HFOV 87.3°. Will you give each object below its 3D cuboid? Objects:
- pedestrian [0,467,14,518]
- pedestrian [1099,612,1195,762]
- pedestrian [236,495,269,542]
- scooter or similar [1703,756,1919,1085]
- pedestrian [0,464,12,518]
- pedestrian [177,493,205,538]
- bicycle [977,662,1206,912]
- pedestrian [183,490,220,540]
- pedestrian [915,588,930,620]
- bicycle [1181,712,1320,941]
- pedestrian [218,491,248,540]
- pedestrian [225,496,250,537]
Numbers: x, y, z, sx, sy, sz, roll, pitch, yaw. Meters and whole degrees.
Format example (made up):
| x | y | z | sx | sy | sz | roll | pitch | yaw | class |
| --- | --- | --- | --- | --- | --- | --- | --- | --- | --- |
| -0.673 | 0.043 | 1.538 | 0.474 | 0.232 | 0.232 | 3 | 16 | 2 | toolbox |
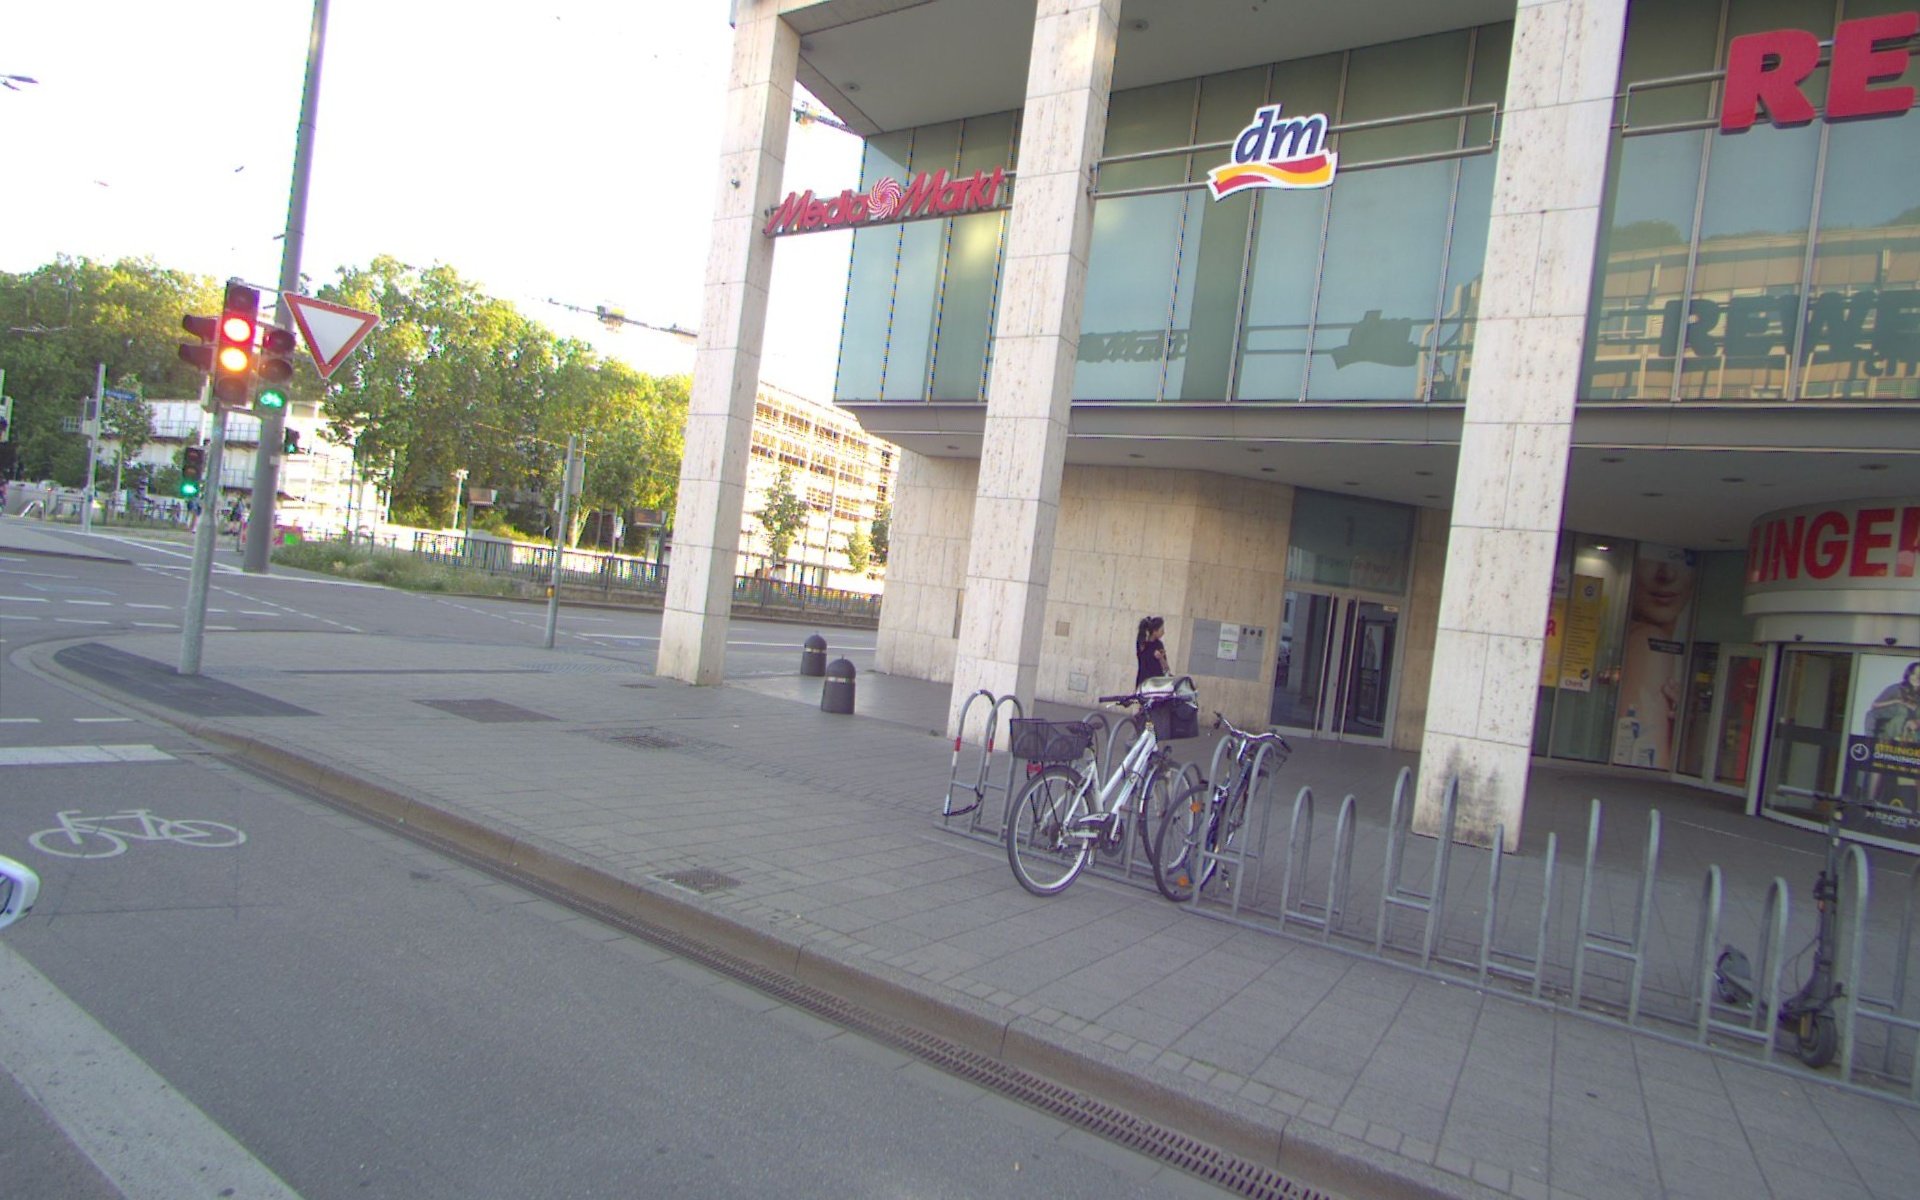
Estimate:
| x | y | z | sx | sy | sz | roll | pitch | yaw | class |
| --- | --- | --- | --- | --- | --- | --- | --- | --- | --- |
| -34.294 | -3.867 | 35.734 | 0.696 | 1.756 | 0.843 | 8 | 1 | 44 | pedestrian |
| 2.250 | 1.038 | 12.082 | 0.696 | 1.659 | 0.791 | 8 | 1 | 32 | pedestrian |
| -28.612 | -3.299 | 40.679 | 0.657 | 1.746 | 0.712 | 8 | 1 | 30 | pedestrian |
| 4.098 | 1.443 | 4.859 | 0.484 | 1.214 | 1.196 | 8 | 1 | 27 | scooter or similar |
| -33.556 | -3.820 | 34.921 | 0.803 | 1.814 | 0.790 | 7 | 1 | -44 | pedestrian |
| -29.313 | -3.217 | 38.351 | 0.527 | 1.612 | 0.571 | 8 | 1 | 32 | pedestrian |
| 0.811 | 1.012 | 5.827 | 0.540 | 1.198 | 1.479 | 8 | 1 | 36 | bicycle |
| -28.474 | -3.175 | 37.778 | 0.700 | 1.746 | 0.668 | 7 | 1 | -3 | pedestrian |
| -2.519 | 0.258 | 66.968 | 0.559 | 2.039 | 0.575 | 8 | 1 | 29 | pedestrian |
| 1.879 | 1.325 | 6.345 | 0.474 | 1.092 | 1.773 | 8 | 0 | 24 | bicycle |
| -27.782 | -3.235 | 38.441 | 0.708 | 1.746 | 0.660 | 7 | 1 | -41 | pedestrian |
| -28.095 | -3.241 | 39.129 | 0.672 | 1.459 | 0.707 | 7 | 1 | -36 | pedestrian |
